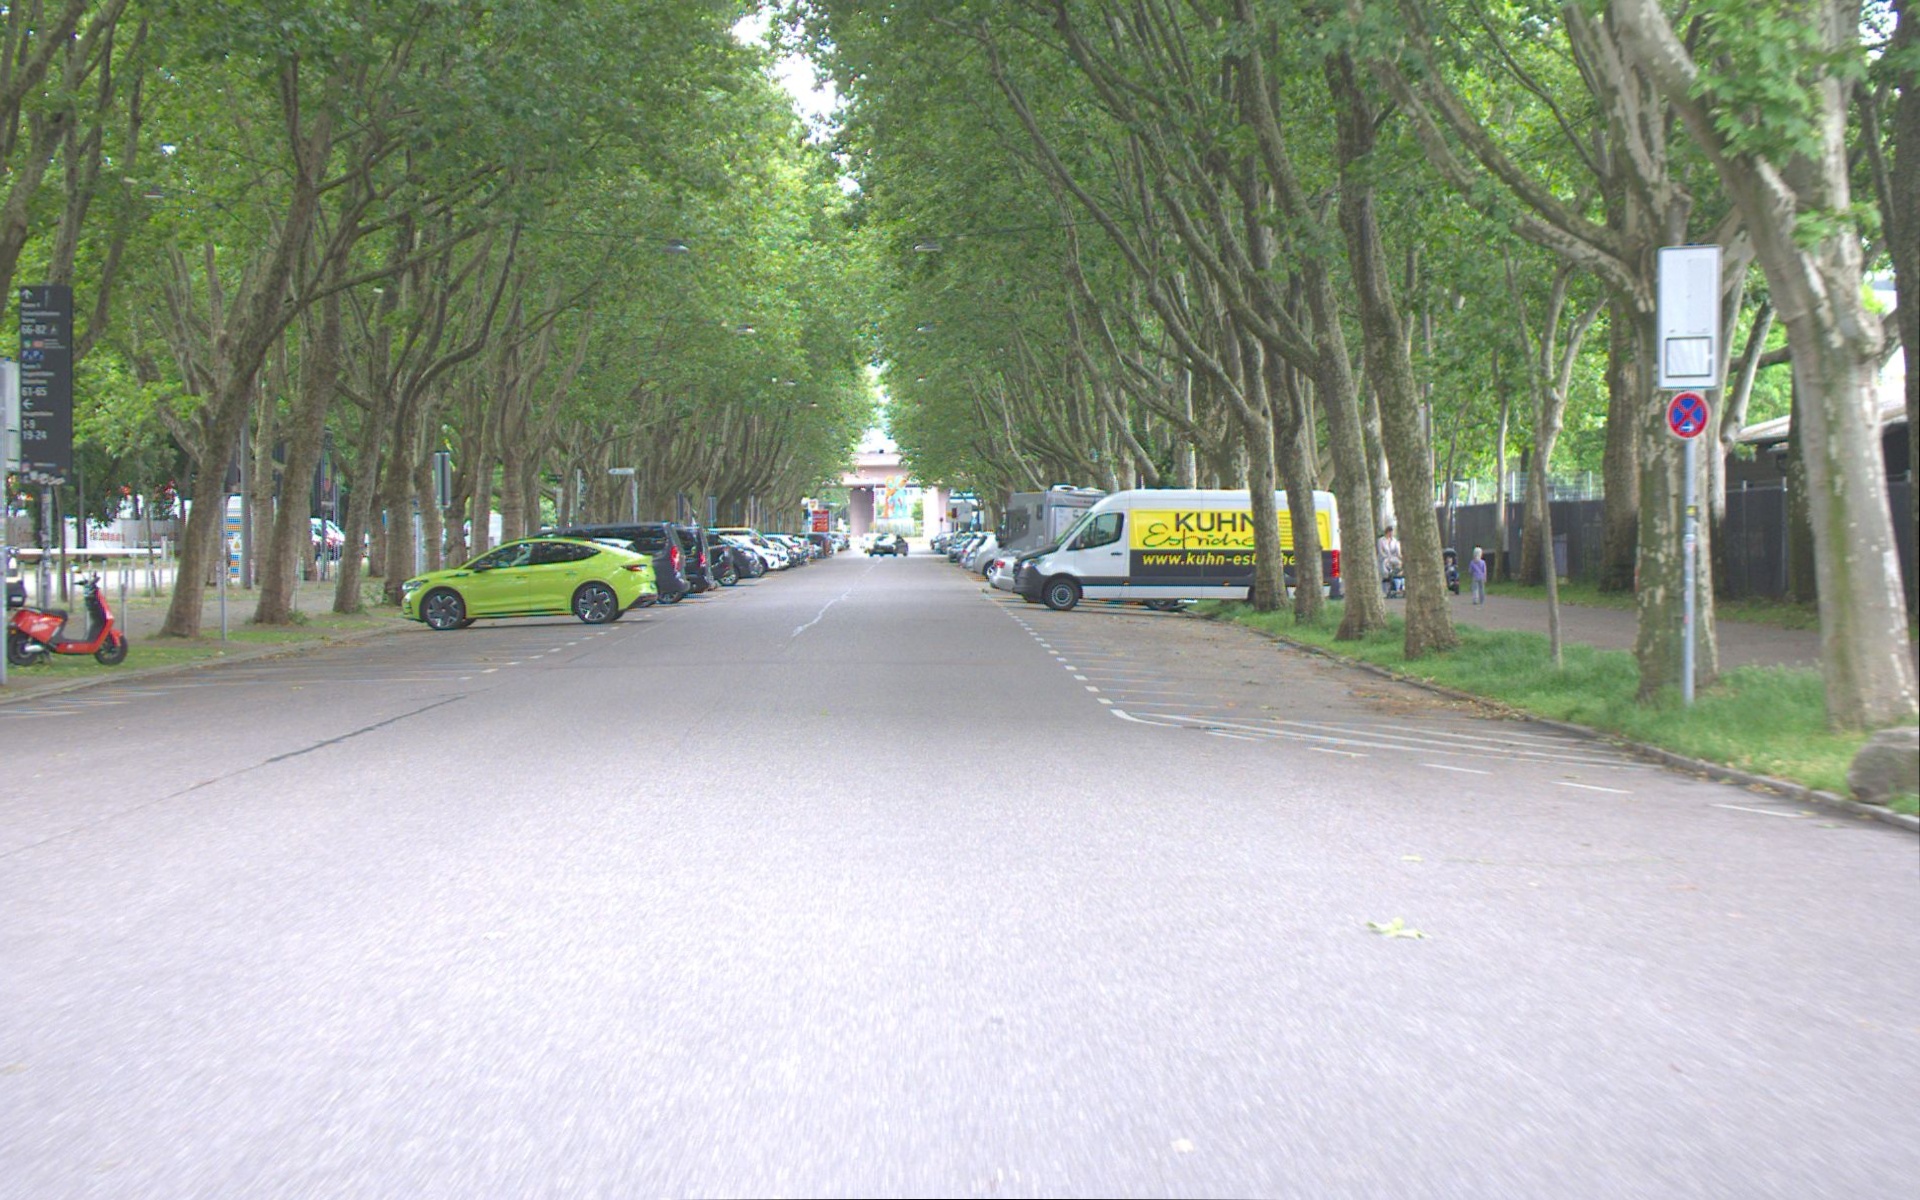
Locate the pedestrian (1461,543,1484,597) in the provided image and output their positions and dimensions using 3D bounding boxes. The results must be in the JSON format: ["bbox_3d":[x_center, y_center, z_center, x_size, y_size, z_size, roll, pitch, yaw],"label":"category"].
[{"bbox_3d":[10.300,-0.603,69.099,0.395,1.080,0.419,-2,1,3],"label":"pedestrian"}]

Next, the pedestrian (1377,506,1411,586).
[{"bbox_3d":[9.616,-1.202,76.260,0.639,1.735,0.621,-2,1,3],"label":"pedestrian"}]

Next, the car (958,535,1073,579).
[{"bbox_3d":[2.049,-1.586,126.712,4.119,1.424,1.703,3,0,1],"label":"car"}]

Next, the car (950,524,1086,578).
[{"bbox_3d":[1.912,-1.607,111.776,4.340,1.612,1.803,2,1,2],"label":"car"}]

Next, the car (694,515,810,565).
[{"bbox_3d":[-9.021,-2.595,149.365,4.893,2.012,1.920,-2,1,-1],"label":"car"}]

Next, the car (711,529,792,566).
[{"bbox_3d":[-10.079,-2.542,166.074,3.826,1.622,1.953,-2,1,-3],"label":"car"}]

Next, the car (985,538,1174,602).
[{"bbox_3d":[2.806,-0.707,80.431,4.359,1.440,1.612,1,1,3],"label":"car"}]

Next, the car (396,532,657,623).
[{"bbox_3d":[-7.911,-0.427,62.972,4.516,1.612,1.758,0,1,2],"label":"car"}]

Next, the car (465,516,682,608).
[{"bbox_3d":[-8.726,-0.866,77.856,4.761,1.917,2.018,-2,1,-5],"label":"car"}]

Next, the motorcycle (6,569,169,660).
[{"bbox_3d":[-11.376,0.182,44.878,0.574,1.154,2.072,1,1,42],"label":"motorcycle"}]

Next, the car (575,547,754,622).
[{"bbox_3d":[-9.236,-0.503,107.887,5.435,2.120,1.940,-2,2,-2],"label":"car"}]

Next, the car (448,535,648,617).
[{"bbox_3d":[-8.711,-0.523,73.016,4.104,1.563,1.758,-2,1,-5],"label":"car"}]

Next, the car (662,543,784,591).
[{"bbox_3d":[-8.694,-1.219,126.390,4.379,1.591,2.000,-2,1,-2],"label":"car"}]

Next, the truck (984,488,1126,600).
[{"bbox_3d":[2.524,-1.536,94.198,2.458,2.927,7.540,1,1,-9],"label":"truck"}]

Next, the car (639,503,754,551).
[{"bbox_3d":[-10.284,-2.845,134.289,4.340,1.662,2.000,-3,1,-2],"label":"car"}]

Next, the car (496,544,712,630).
[{"bbox_3d":[-8.525,-0.326,82.714,4.905,1.917,2.208,-2,1,0],"label":"car"}]

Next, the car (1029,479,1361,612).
[{"bbox_3d":[4.932,-1.153,72.897,6.881,2.686,2.127,1,1,1],"label":"car"}]

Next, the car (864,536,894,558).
[{"bbox_3d":[-5.283,-3.434,224.085,1.654,1.359,4.113,-3,1,-4],"label":"car"}]

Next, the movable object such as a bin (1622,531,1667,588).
[{"bbox_3d":[12.158,-0.723,61.049,0.568,0.956,0.675,-5,1,-1],"label":"movable object such as a bin"}]
